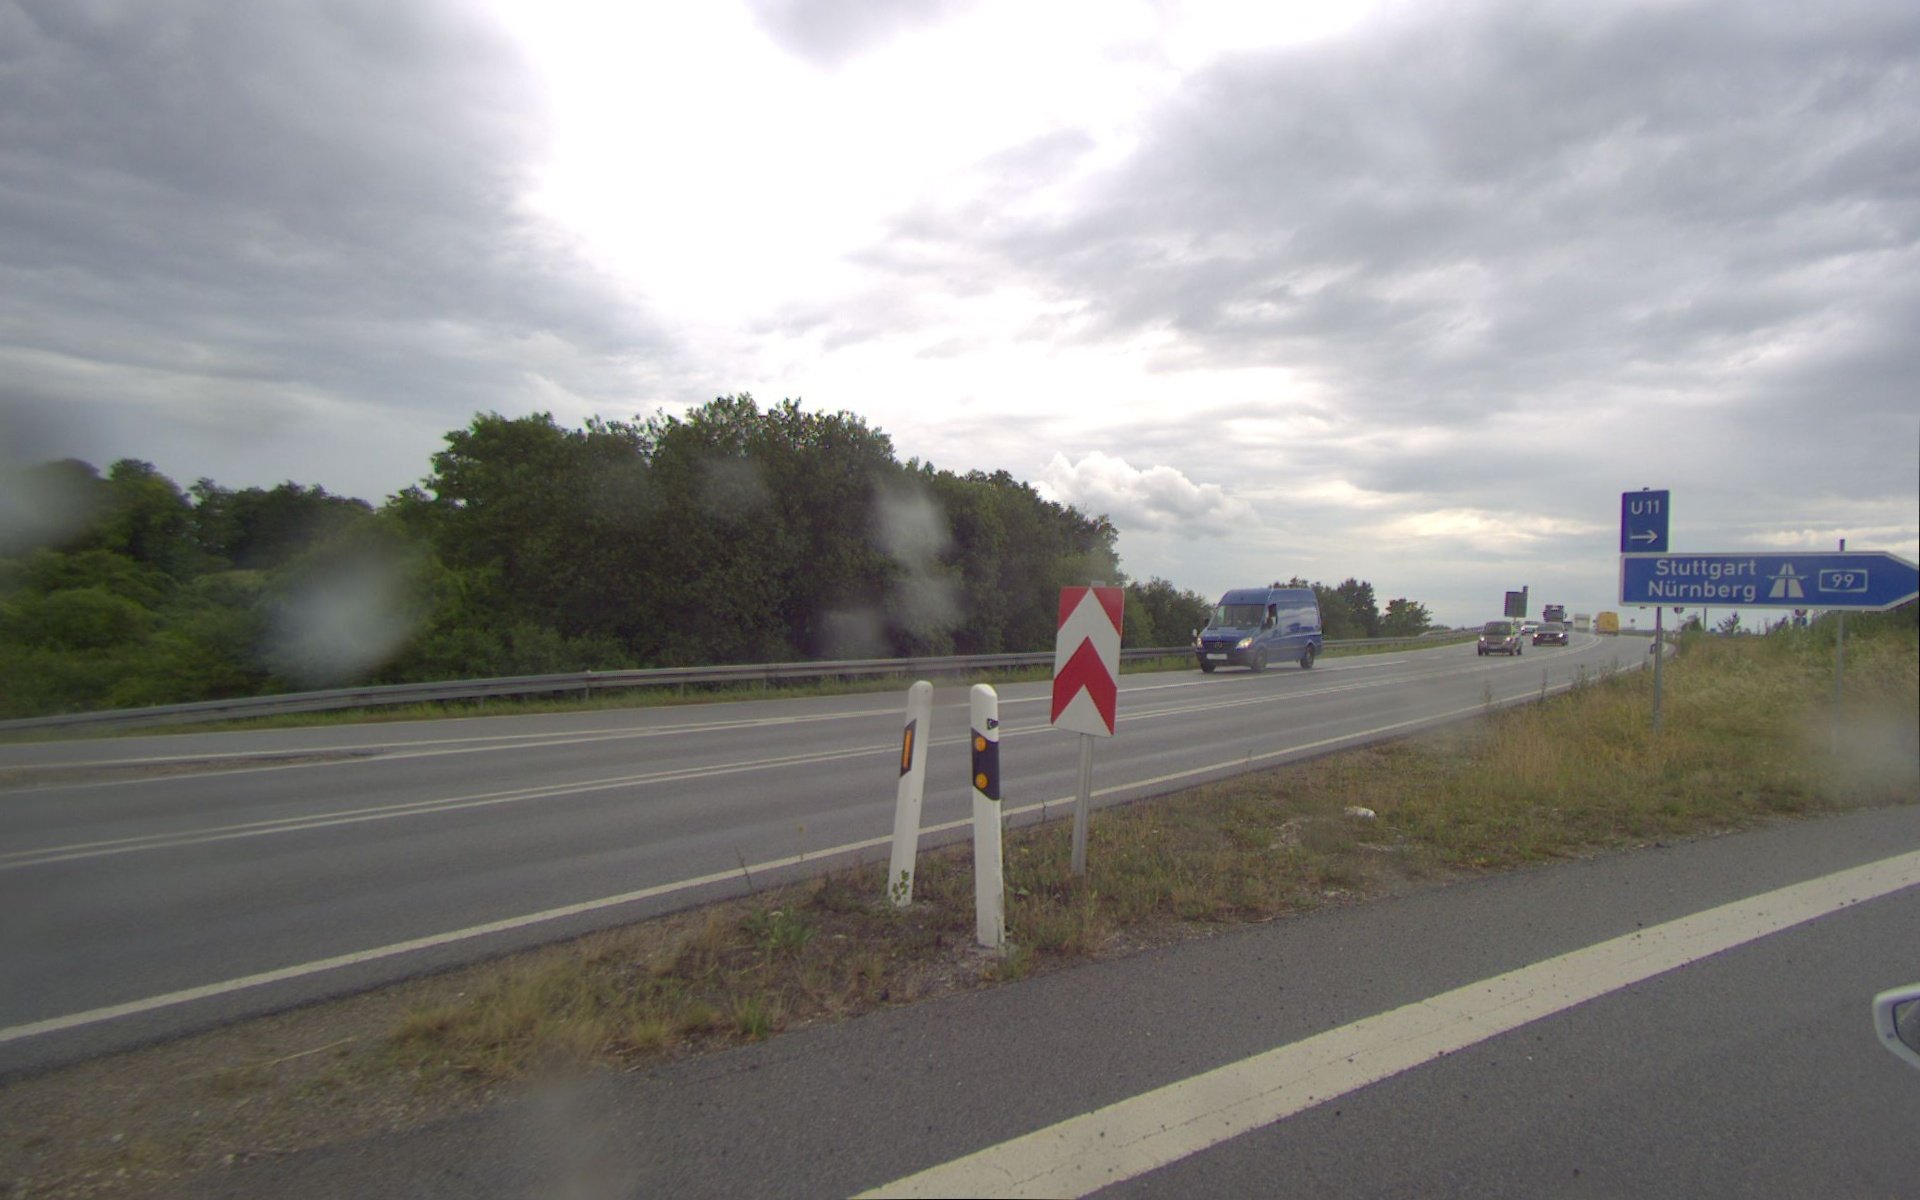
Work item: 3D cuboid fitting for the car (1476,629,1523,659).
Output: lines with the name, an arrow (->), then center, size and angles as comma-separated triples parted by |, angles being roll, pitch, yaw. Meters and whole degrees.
car -> 24.827, 2.000, 46.204 | 1.412, 1.192, 3.122 | 3, 1, 37

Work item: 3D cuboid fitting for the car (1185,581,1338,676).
car -> 9.900, 0.925, 32.561 | 2.300, 2.762, 6.249 | 0, -1, 42

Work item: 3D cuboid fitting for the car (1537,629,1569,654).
car -> 37.372, 2.591, 63.263 | 1.455, 1.368, 3.703 | 3, 1, 34
